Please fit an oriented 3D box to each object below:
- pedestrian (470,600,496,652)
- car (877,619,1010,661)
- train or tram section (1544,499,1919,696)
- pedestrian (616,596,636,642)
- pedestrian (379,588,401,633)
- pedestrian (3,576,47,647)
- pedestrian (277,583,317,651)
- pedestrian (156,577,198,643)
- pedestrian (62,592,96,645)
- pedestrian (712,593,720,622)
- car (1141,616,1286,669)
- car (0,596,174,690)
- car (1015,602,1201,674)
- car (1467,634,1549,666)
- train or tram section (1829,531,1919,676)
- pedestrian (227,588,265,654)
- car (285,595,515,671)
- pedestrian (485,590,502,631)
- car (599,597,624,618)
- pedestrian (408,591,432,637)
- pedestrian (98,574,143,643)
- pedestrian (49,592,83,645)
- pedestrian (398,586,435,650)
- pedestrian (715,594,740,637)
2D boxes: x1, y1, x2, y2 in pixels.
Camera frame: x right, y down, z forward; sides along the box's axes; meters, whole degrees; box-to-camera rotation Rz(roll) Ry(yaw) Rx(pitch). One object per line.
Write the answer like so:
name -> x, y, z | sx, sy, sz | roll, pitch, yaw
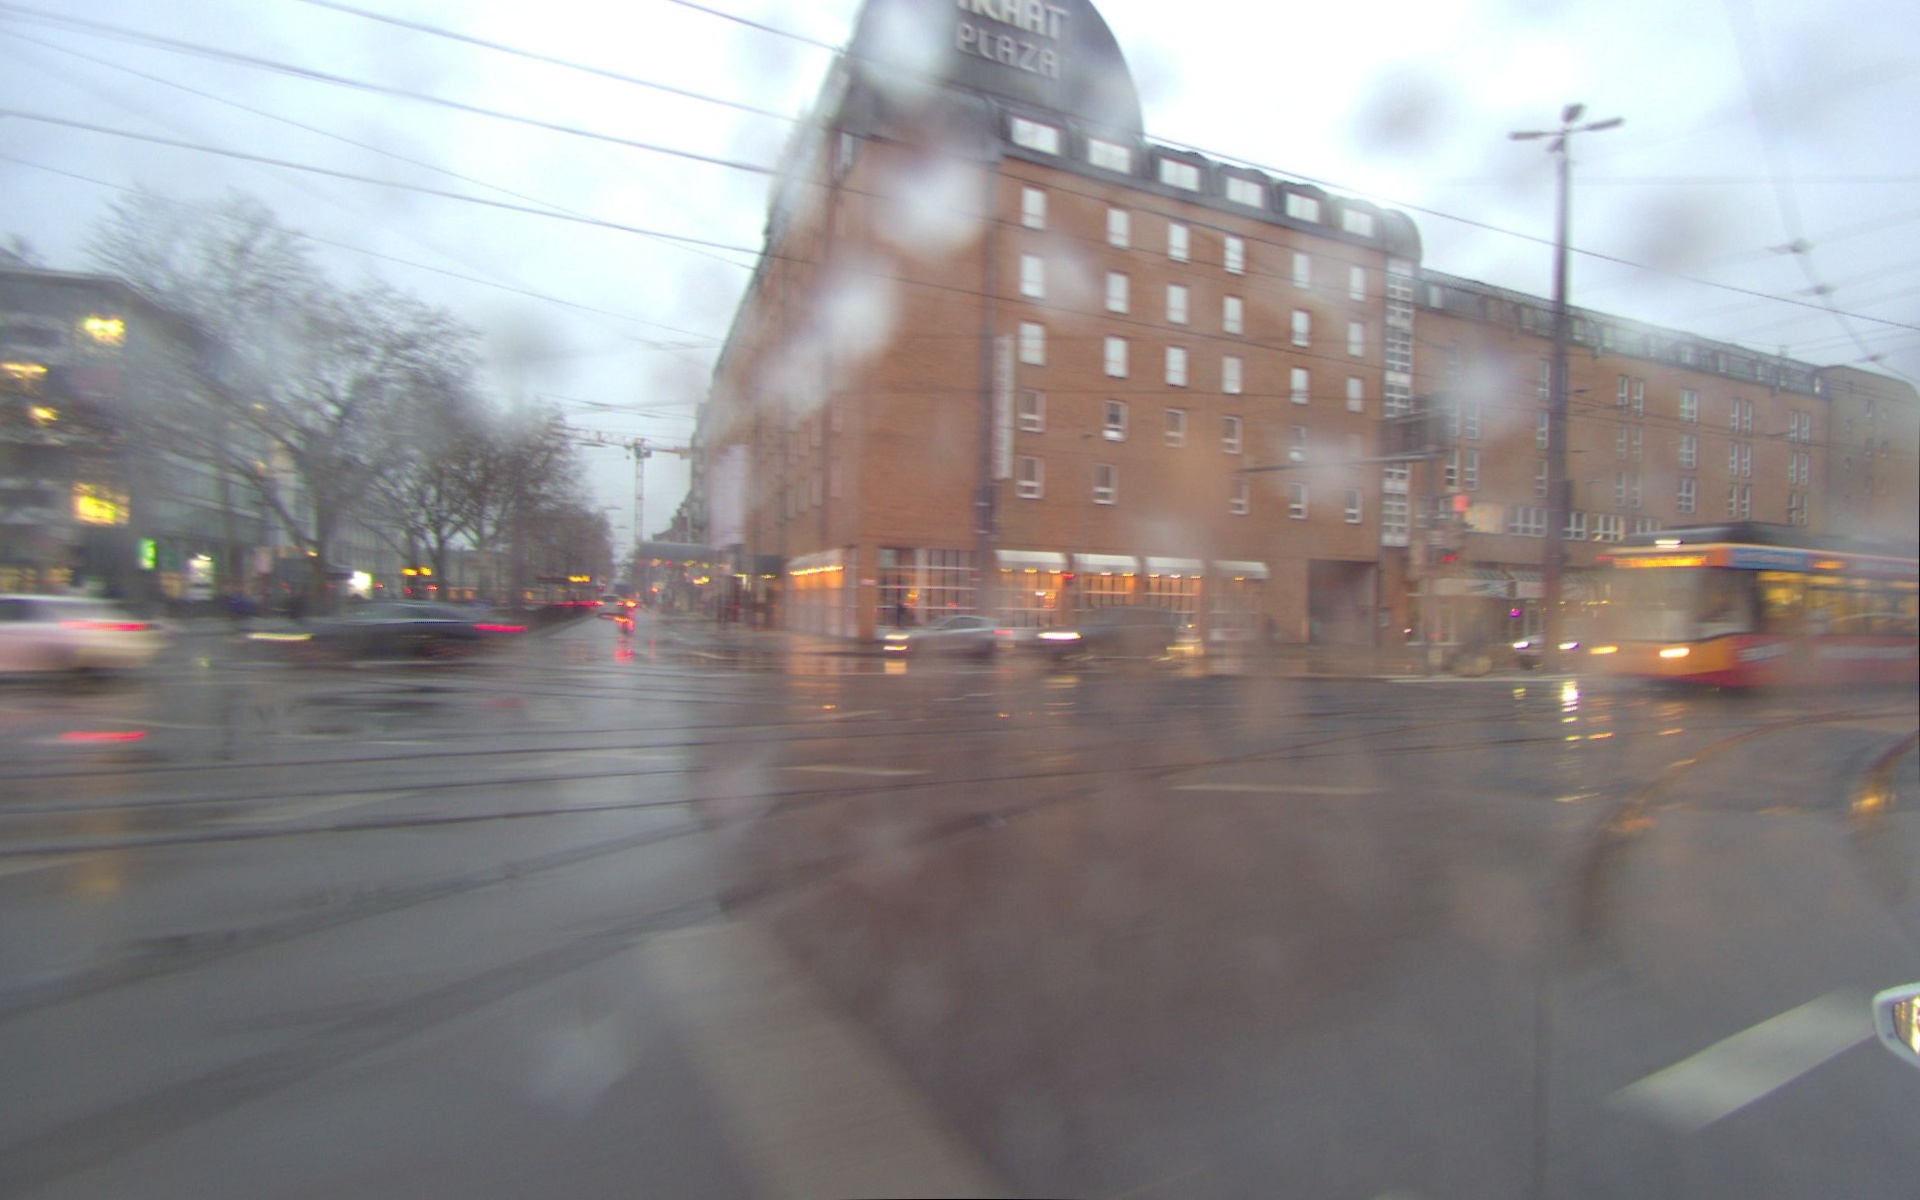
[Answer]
pedestrian -> -14.467, 0.771, 30.452 | 0.564, 1.558, 0.519 | 0, 0, -8
car -> -0.552, 1.326, 33.640 | 4.166, 1.339, 1.609 | 1, 0, -21
train or tram section -> 18.389, -0.001, 22.600 | 12.096, 3.637, 2.939 | 1, 1, -27
pedestrian -> -14.245, 0.805, 42.866 | 0.774, 1.925, 0.836 | 1, 0, -19
pedestrian -> -25.954, 0.470, 45.752 | 0.709, 2.040, 0.743 | 1, 0, -20
pedestrian -> -27.396, 0.347, 29.442 | 0.697, 2.040, 0.755 | 1, 0, -23
pedestrian -> -20.328, 0.523, 30.802 | 0.744, 2.040, 0.707 | 1, 0, -1
pedestrian -> -24.692, 0.308, 31.696 | 0.744, 2.040, 0.707 | 1, 0, -1
pedestrian -> -26.110, 0.557, 29.780 | 0.564, 1.558, 0.519 | 0, 0, -8
pedestrian -> -17.499, 0.524, 72.012 | 0.521, 2.040, 0.553 | 1, 0, -20
car -> 8.161, 1.344, 32.285 | 4.385, 1.577, 1.823 | 1, 0, -26
car -> -15.941, 0.685, 16.769 | 4.146, 1.515, 1.662 | 1, 0, -26
car -> 3.900, 0.968, 26.325 | 4.646, 1.732, 1.822 | 1, 0, -28
car -> 27.284, 2.449, 49.958 | 4.176, 1.511, 1.605 | 1, 0, -29
train or tram section -> 28.674, 0.158, 27.884 | 10.892, 3.626, 2.914 | 1, 1, -27
pedestrian -> -22.449, 0.659, 31.600 | 0.747, 2.040, 0.705 | 1, 0, -16
car -> -12.022, 0.687, 21.827 | 4.182, 1.525, 1.745 | 1, 0, -28
pedestrian -> -23.343, 0.541, 50.267 | 0.709, 2.040, 0.743 | 1, 0, -20
car -> -30.989, 0.681, 89.424 | 2.075, 1.806, 3.689 | 1, 0, -19
pedestrian -> -18.535, 0.485, 34.475 | 0.564, 1.558, 0.519 | 0, 0, -8
pedestrian -> -25.599, 0.261, 30.638 | 0.744, 2.040, 0.707 | 1, 0, -1
pedestrian -> -26.739, 0.545, 30.056 | 0.564, 1.558, 0.519 | 0, 0, -8
pedestrian -> -17.590, 0.588, 32.509 | 0.744, 2.040, 0.800 | 1, 0, -1
pedestrian -> -11.219, 0.753, 48.385 | 0.922, 2.040, 0.756 | 1, 0, 40
